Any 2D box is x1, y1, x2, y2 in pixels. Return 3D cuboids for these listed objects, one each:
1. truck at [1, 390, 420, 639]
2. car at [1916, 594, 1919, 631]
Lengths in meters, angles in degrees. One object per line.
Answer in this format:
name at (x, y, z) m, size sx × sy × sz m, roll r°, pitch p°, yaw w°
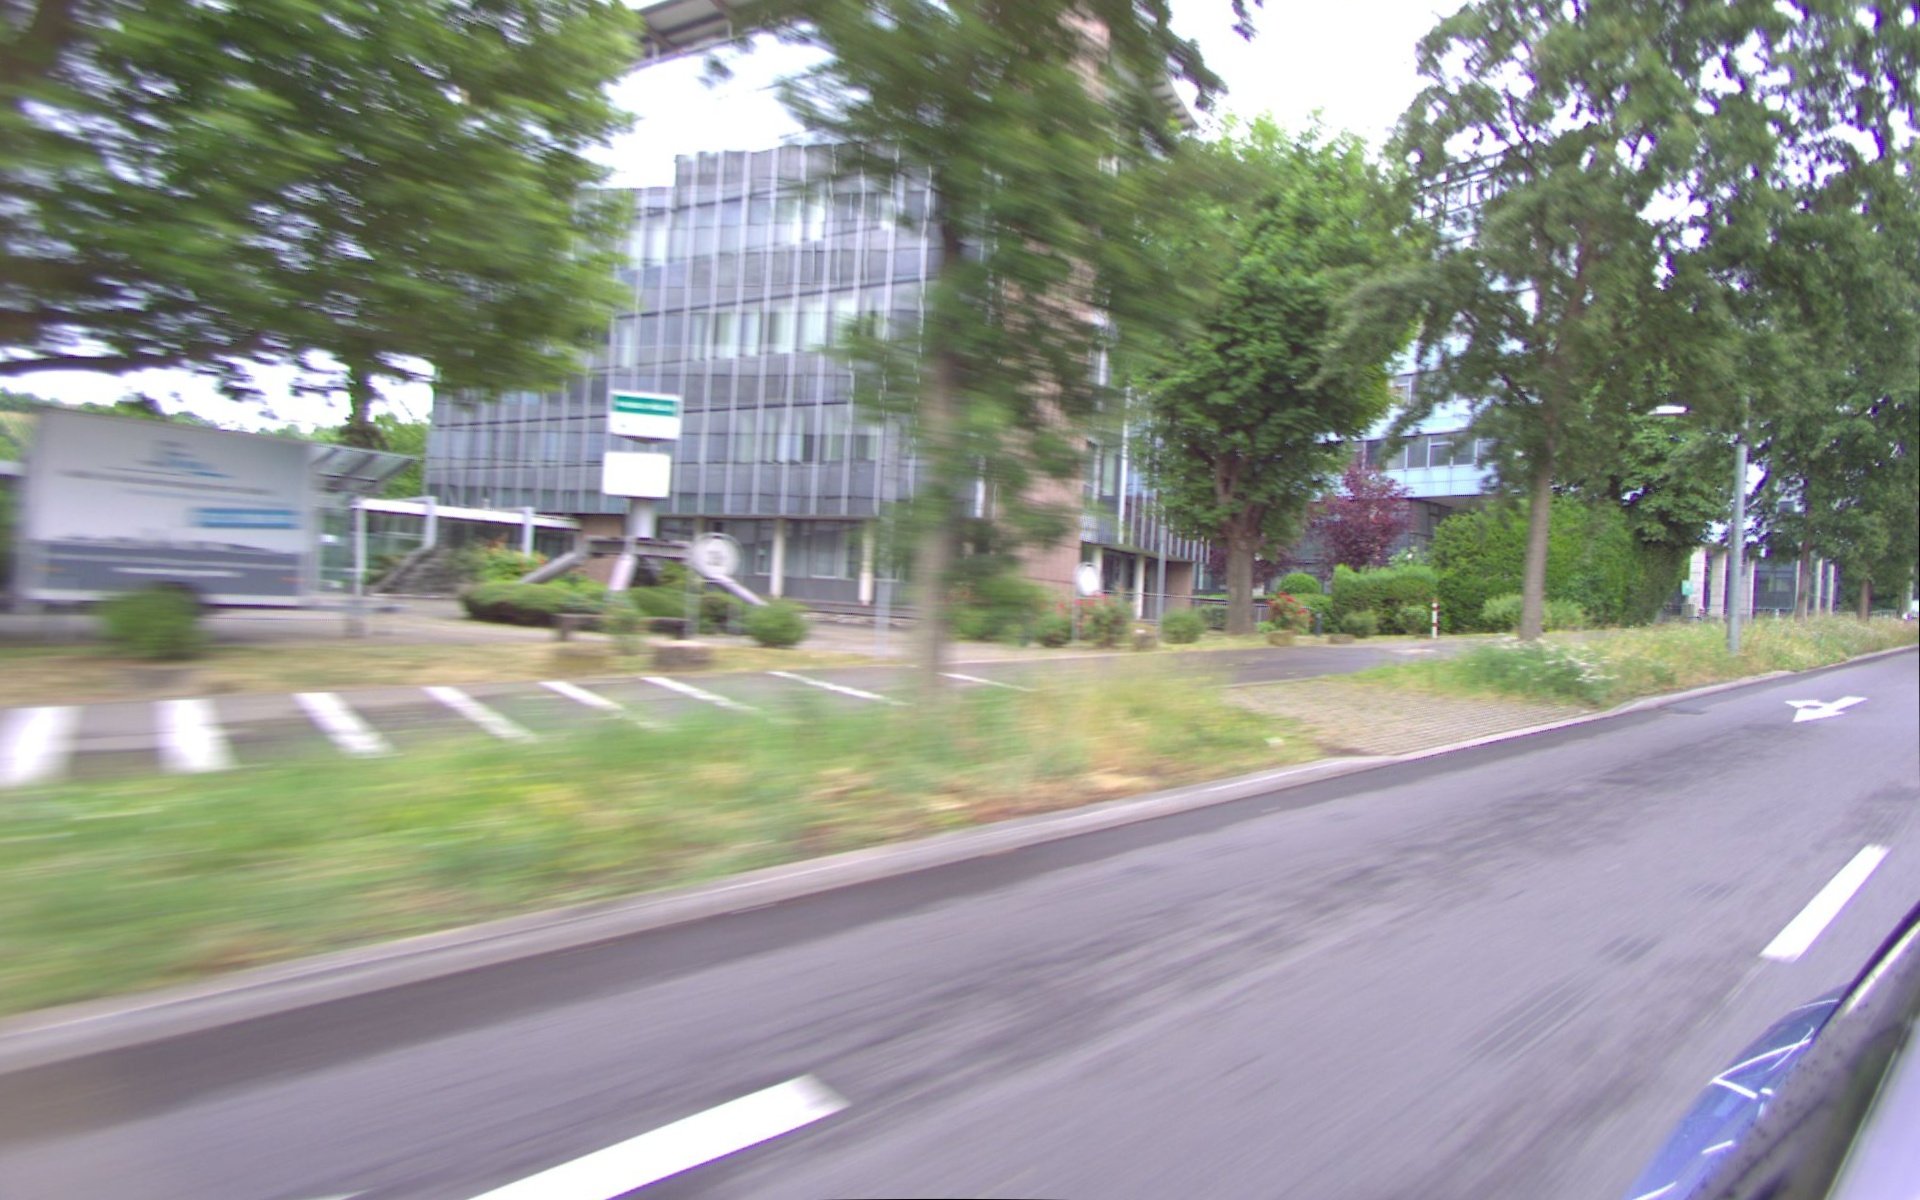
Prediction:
truck at (-8.997, -0.900, 12.356) m, size 3.934 × 2.549 × 1.747 m, roll -1°, pitch 0°, yaw -44°
car at (46.792, 0.593, 47.977) m, size 4.295 × 1.691 × 1.814 m, roll 0°, pitch 1°, yaw -42°
